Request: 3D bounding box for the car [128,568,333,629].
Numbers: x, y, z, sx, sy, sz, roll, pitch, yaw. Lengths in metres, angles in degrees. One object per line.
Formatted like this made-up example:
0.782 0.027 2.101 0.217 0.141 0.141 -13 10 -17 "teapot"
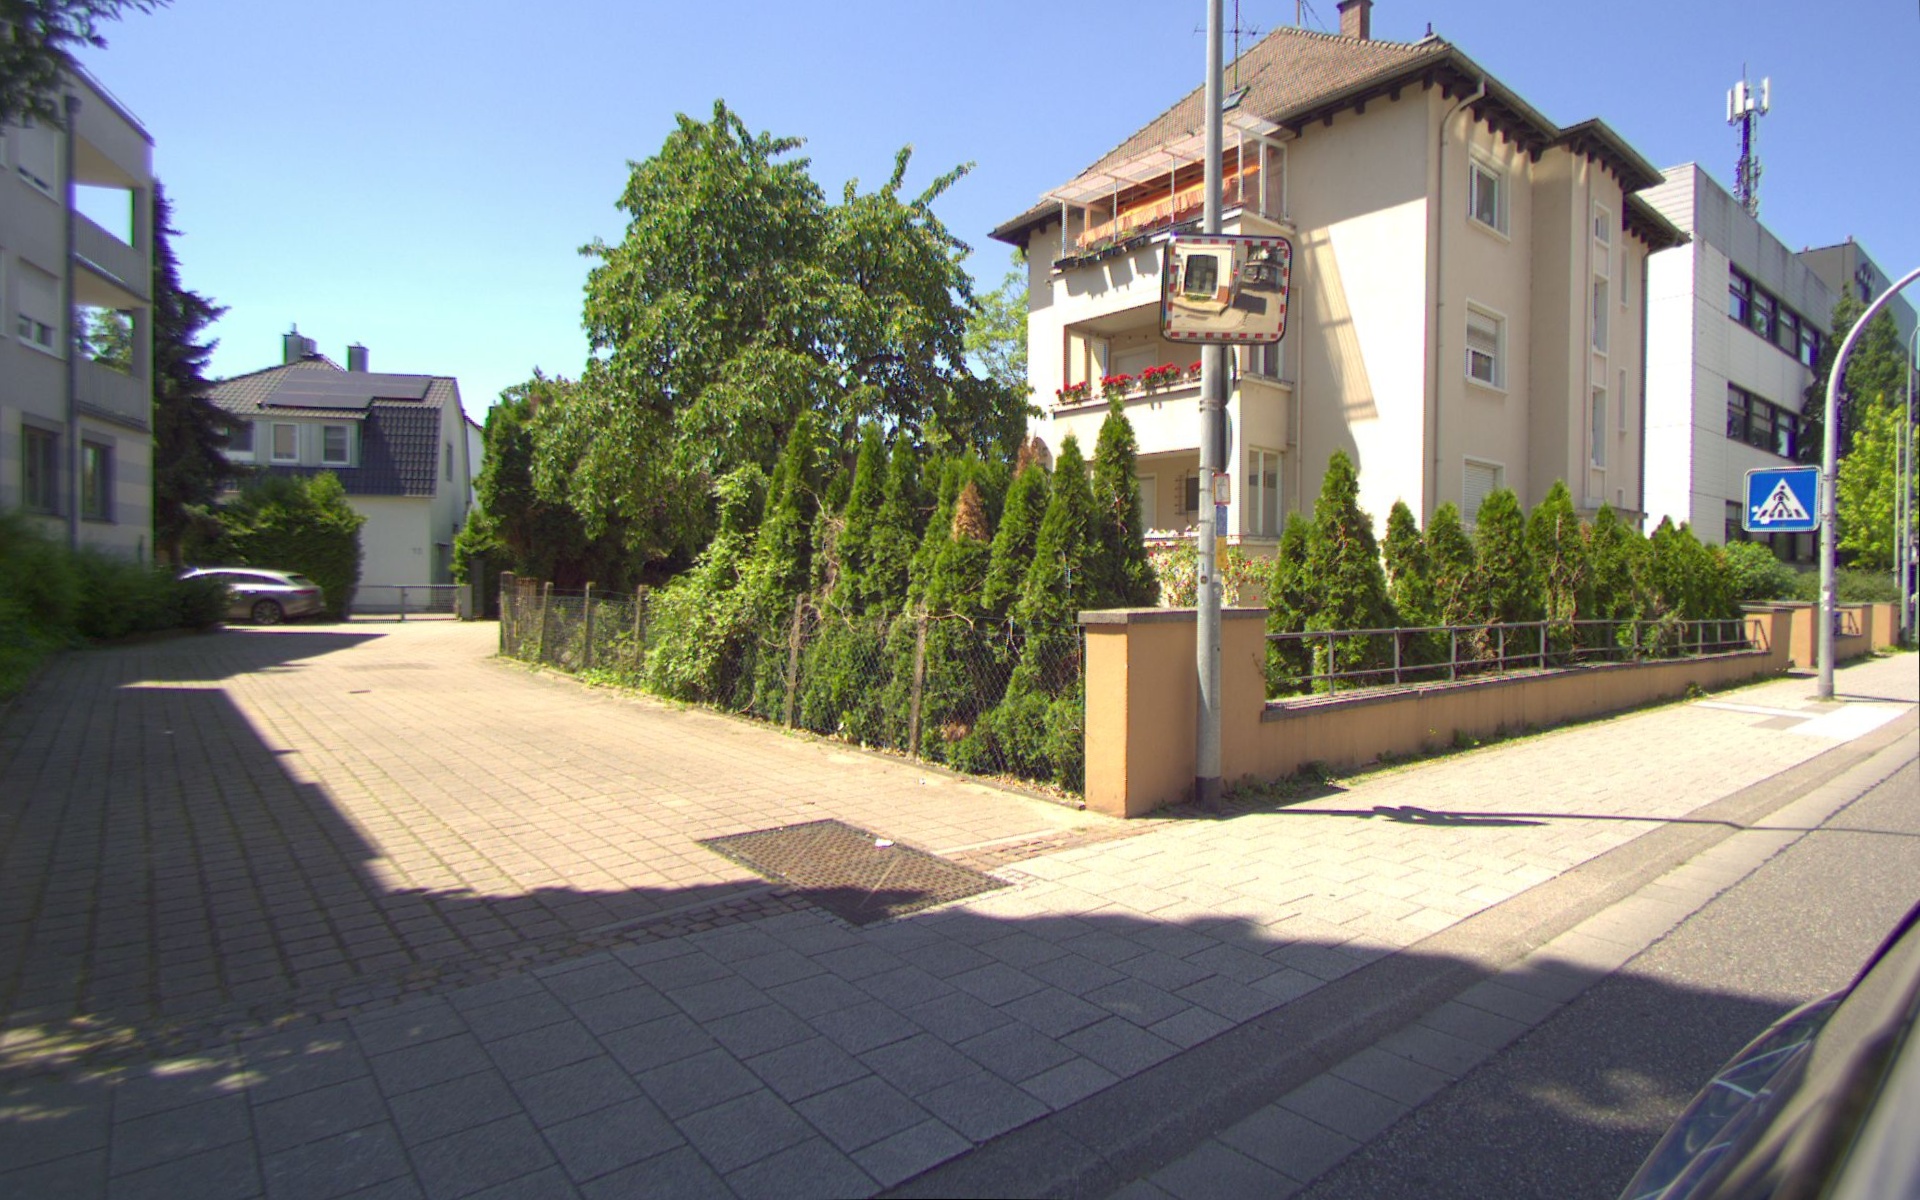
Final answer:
-18.621 -0.033 26.049 3.916 1.448 1.915 -1 -1 -21 "car"
